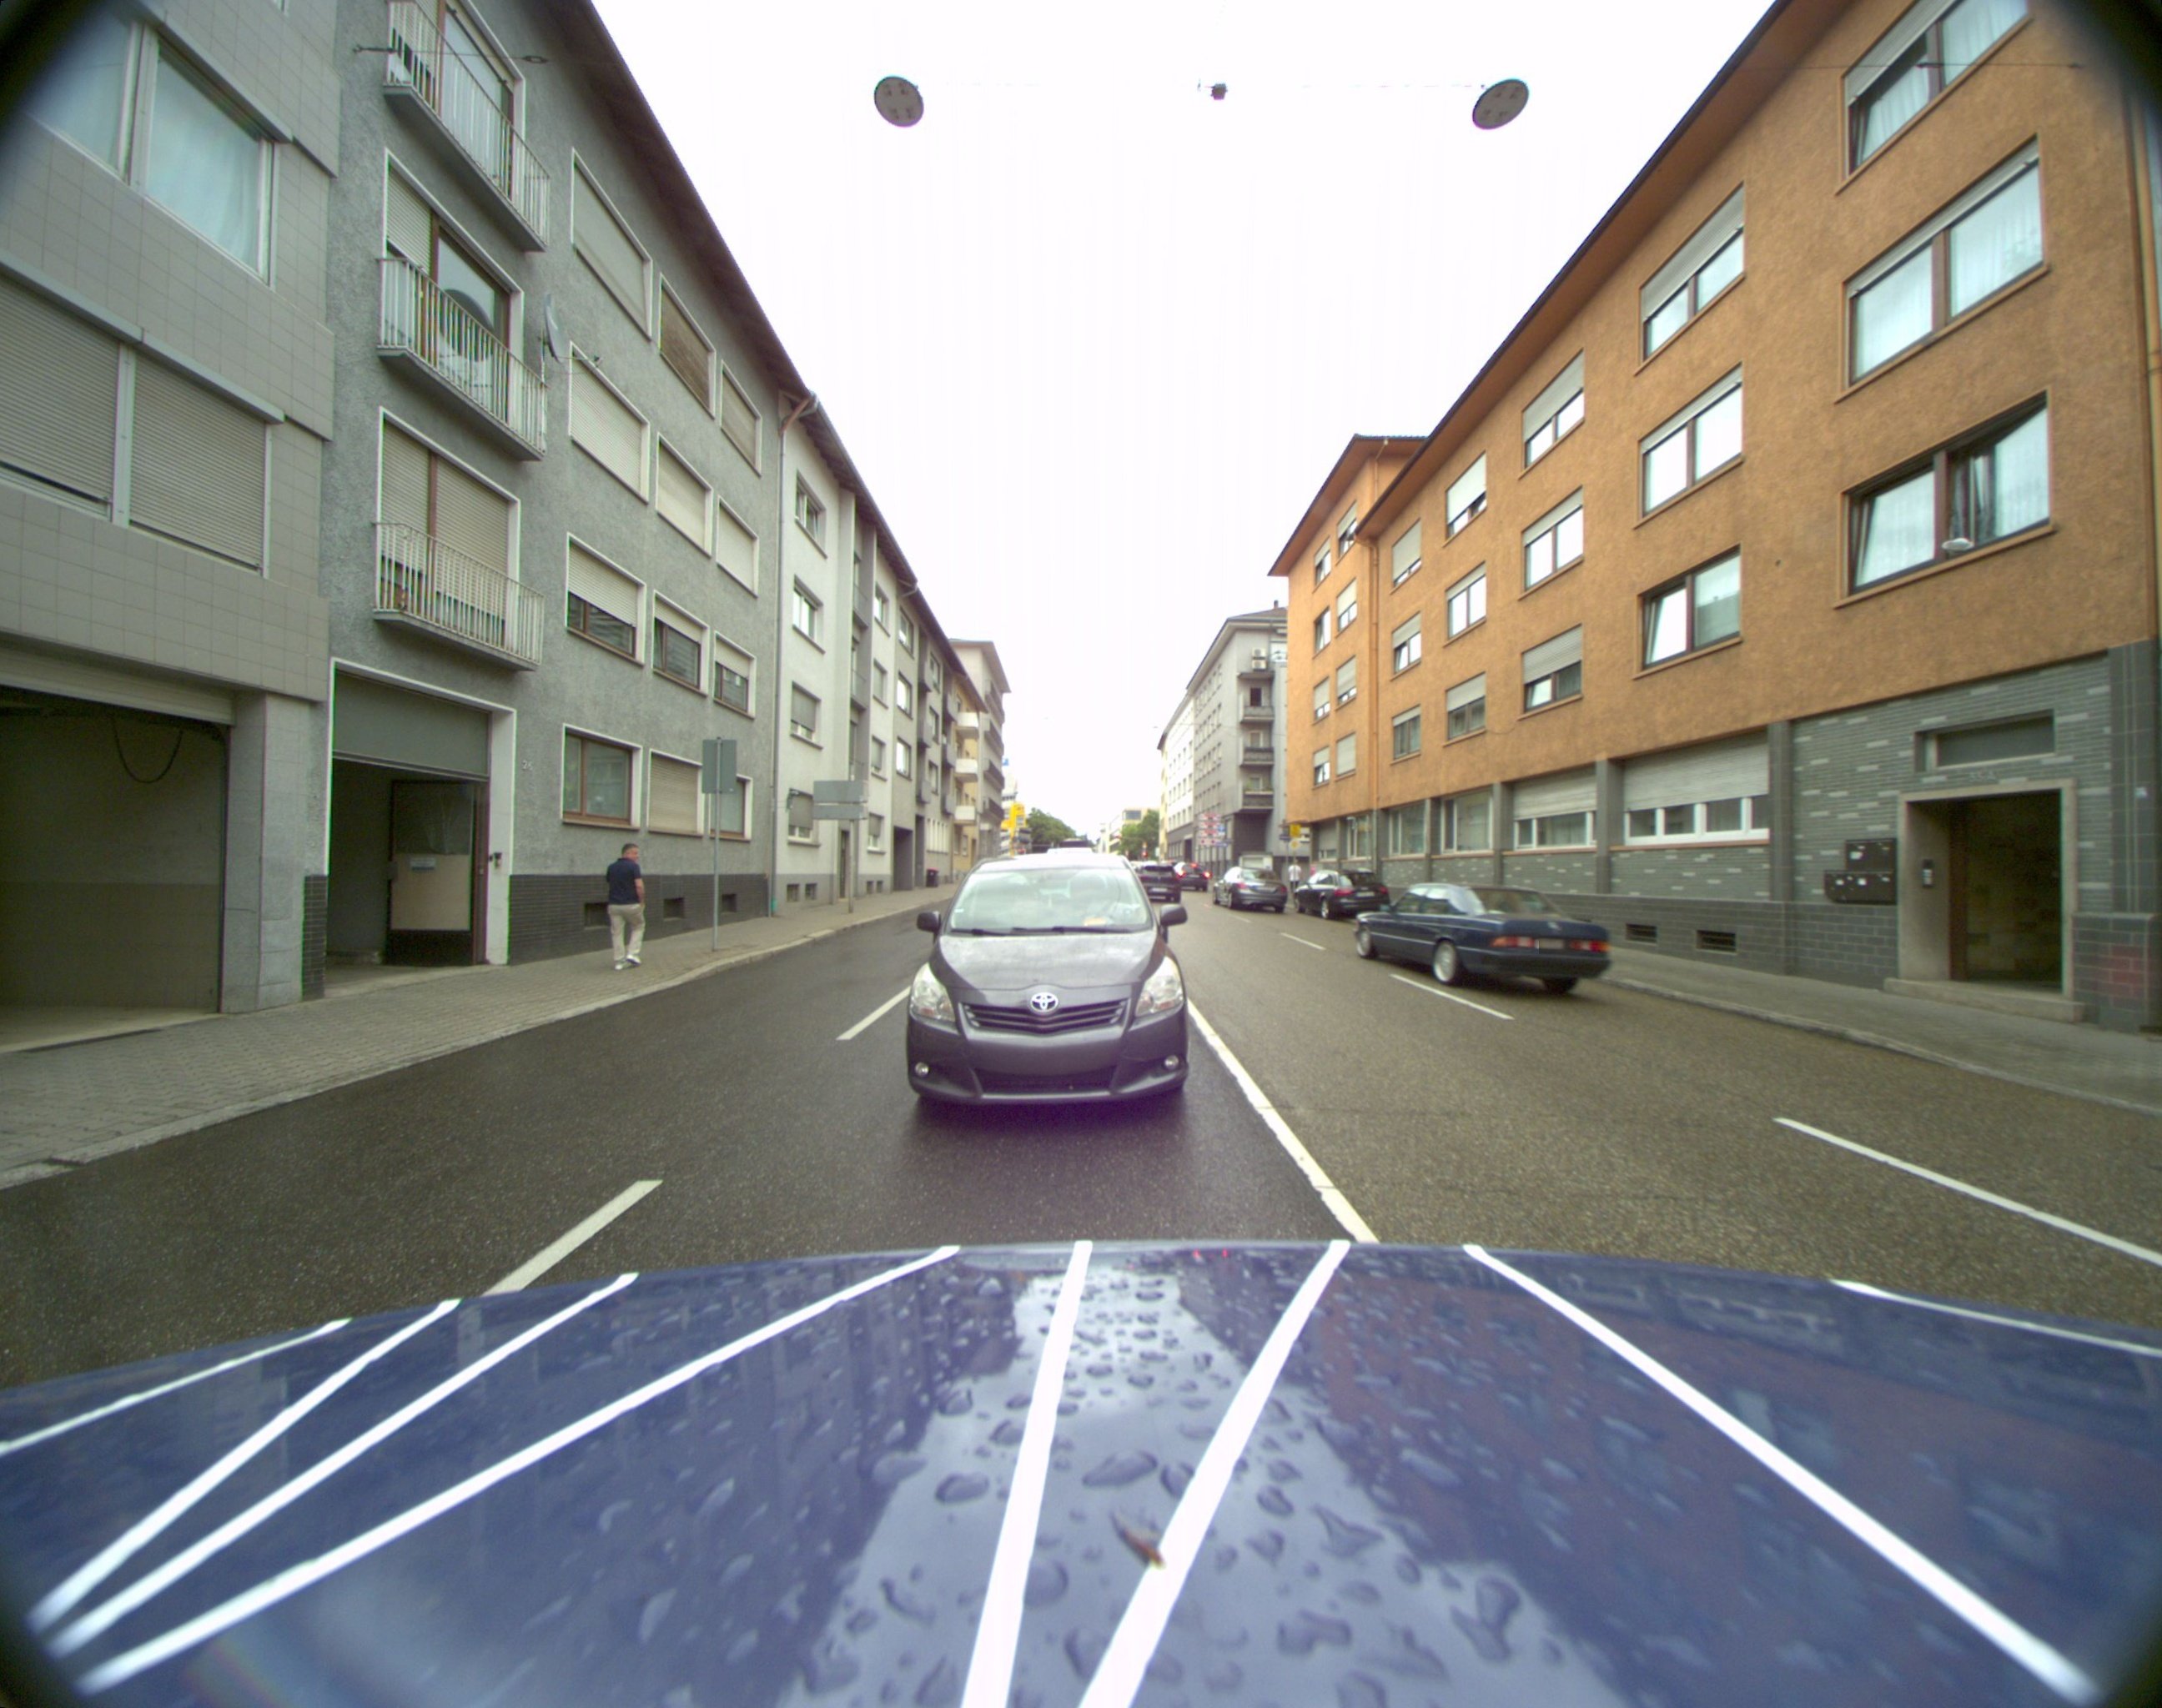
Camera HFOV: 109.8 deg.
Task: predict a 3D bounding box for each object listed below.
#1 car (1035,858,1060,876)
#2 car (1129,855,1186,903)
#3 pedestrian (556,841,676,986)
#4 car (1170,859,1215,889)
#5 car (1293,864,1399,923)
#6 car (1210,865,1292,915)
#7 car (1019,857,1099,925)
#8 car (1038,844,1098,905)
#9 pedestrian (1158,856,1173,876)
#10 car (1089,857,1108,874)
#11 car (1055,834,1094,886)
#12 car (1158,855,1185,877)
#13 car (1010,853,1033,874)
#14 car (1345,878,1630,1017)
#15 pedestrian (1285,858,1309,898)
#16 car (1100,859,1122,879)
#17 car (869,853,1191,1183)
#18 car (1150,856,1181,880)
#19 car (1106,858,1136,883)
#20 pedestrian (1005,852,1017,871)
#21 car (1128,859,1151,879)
[{"bbox_3d":[-2.848,1.109,65.065,1.856,1.369,4.217,-2,1,1],"label":"car"},{"bbox_3d":[2.856,0.901,29.210,1.699,1.571,4.216,2,1,0],"label":"car"},{"bbox_3d":[-6.443,0.779,10.598,0.871,1.855,1.120,4,1,1],"label":"pedestrian"},{"bbox_3d":[6.086,1.065,42.010,1.727,1.464,4.373,2,0,-1],"label":"car"},{"bbox_3d":[8.045,1.143,23.483,1.799,1.466,4.217,-2,1,1],"label":"car"},{"bbox_3d":[5.696,1.152,25.968,1.699,1.362,4.365,3,1,-1],"label":"car"},{"bbox_3d":[-0.503,0.892,20.119,1.856,1.524,3.792,-2,1,1],"label":"car"},{"bbox_3d":[-0.394,0.636,26.624,1.856,1.882,4.217,-2,1,1],"label":"car"},{"bbox_3d":[8.729,1.265,78.419,1.309,2.002,1.258,-2,1,1],"label":"pedestrian"},{"bbox_3d":[1.804,1.159,78.568,1.749,1.530,4.052,2,1,-1],"label":"car"},{"bbox_3d":[-0.328,0.297,43.668,2.033,2.731,4.368,-2,1,1],"label":"car"},{"bbox_3d":[7.820,0.991,65.775,1.856,1.712,4.217,-2,1,1],"label":"car"},{"bbox_3d":[-5.126,0.792,65.910,1.856,1.663,4.215,-2,1,-4],"label":"car"},{"bbox_3d":[5.449,1.150,10.952,1.603,1.362,4.361,3,0,-2],"label":"car"},{"bbox_3d":[9.311,1.033,32.726,0.768,1.630,1.023,-2,1,5],"label":"pedestrian"},{"bbox_3d":[2.527,1.216,64.851,1.622,1.530,4.216,2,1,-1],"label":"car"},{"bbox_3d":[-0.251,0.901,6.275,1.699,1.712,4.217,-2,1,1],"label":"car"},{"bbox_3d":[6.281,1.029,56.694,1.699,1.530,4.435,4,1,0],"label":"car"},{"bbox_3d":[2.498,0.987,47.821,1.699,1.362,4.217,2,1,1],"label":"car"},{"bbox_3d":[-6.649,0.728,71.924,1.119,1.741,0.961,1,1,-5],"label":"pedestrian"},{"bbox_3d":[5.459,1.364,71.681,1.856,1.651,4.610,-2,1,1],"label":"car"}]
